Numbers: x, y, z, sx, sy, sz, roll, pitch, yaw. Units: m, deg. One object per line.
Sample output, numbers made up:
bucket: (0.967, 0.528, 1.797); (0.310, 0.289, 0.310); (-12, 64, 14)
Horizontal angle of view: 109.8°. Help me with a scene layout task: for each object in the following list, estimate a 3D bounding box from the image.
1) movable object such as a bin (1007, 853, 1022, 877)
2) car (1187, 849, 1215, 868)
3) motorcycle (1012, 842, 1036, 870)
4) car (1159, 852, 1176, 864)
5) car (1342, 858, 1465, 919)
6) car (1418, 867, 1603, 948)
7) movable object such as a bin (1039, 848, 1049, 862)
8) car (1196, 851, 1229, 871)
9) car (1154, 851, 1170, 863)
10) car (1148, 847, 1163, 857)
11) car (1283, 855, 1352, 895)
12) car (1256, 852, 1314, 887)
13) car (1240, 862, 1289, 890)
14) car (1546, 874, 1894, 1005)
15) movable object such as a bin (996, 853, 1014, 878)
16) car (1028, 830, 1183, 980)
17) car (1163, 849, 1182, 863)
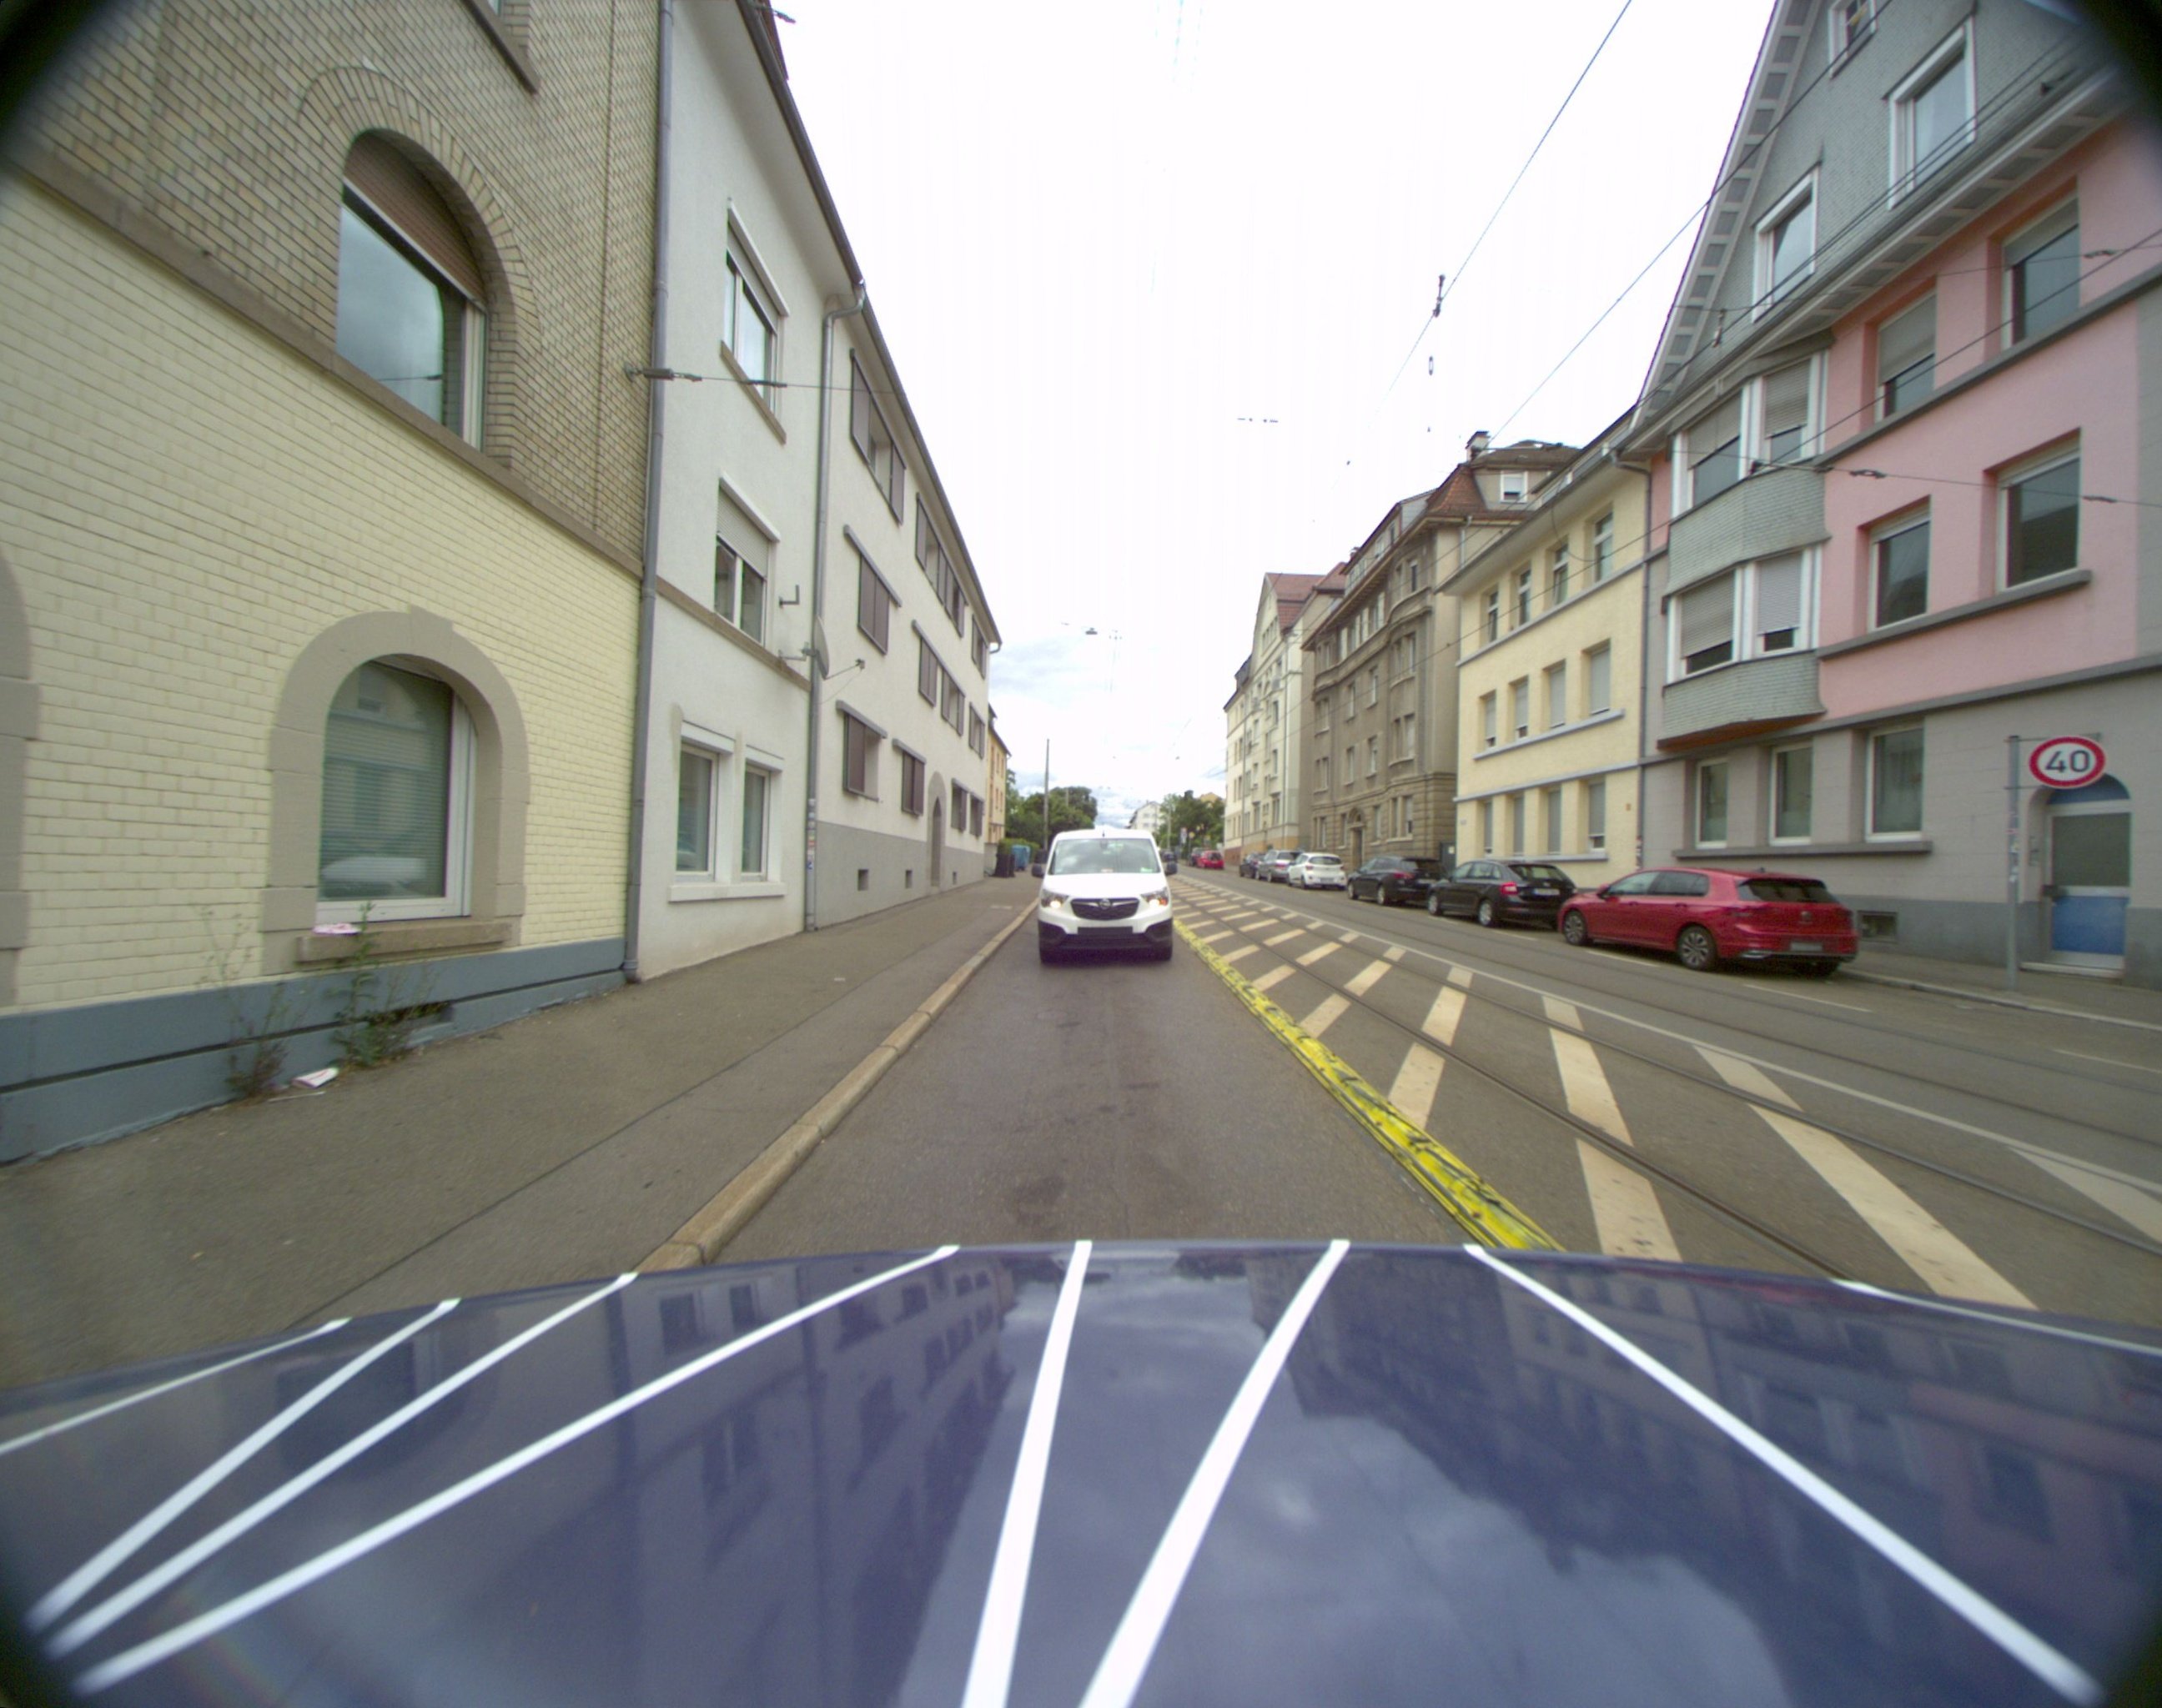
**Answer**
movable object such as a bin: (-2.861, 0.484, 32.805); (0.565, 1.003, 0.498); (4, 0, -7)
car: (10.418, 0.395, 66.167); (1.743, 1.517, 3.951); (3, 1, 0)
motorcycle: (-2.998, 0.098, 39.977); (0.731, 1.382, 1.938); (5, 0, 8)
car: (11.080, 0.488, 97.840); (1.743, 1.517, 3.952); (3, 1, 1)
car: (9.411, 0.924, 22.606); (1.789, 1.502, 4.526); (3, 1, 1)
car: (9.414, 1.089, 17.118); (1.789, 1.402, 4.241); (3, 1, 1)
movable object such as a bin: (-2.797, 0.093, 57.129); (0.669, 1.053, 0.539); (0, 0, 1)
car: (10.553, 0.568, 61.242); (1.743, 1.450, 3.950); (3, 1, -3)
car: (11.115, 0.366, 104.298); (1.743, 1.517, 3.951); (3, 1, 0)
car: (11.319, -0.306, 115.404); (1.743, 1.517, 3.951); (3, 1, 0)
car: (9.787, 0.835, 31.670); (1.743, 1.502, 3.801); (1, 1, 1)
car: (9.915, 0.726, 37.196); (1.743, 1.558, 4.143); (1, 1, 0)
car: (10.045, 1.183, 41.943); (1.743, 1.373, 4.044); (1, 1, 0)
car: (9.388, 1.138, 11.751); (1.789, 1.430, 4.261); (3, 1, 1)
movable object such as a bin: (-3.187, 0.470, 31.938); (0.637, 1.003, 0.603); (4, 0, 1)
car: (0.364, 0.613, 11.648); (1.888, 1.827, 4.676); (0, 0, 1)
car: (11.030, 0.244, 91.634); (1.743, 1.517, 3.951); (3, 1, 0)
